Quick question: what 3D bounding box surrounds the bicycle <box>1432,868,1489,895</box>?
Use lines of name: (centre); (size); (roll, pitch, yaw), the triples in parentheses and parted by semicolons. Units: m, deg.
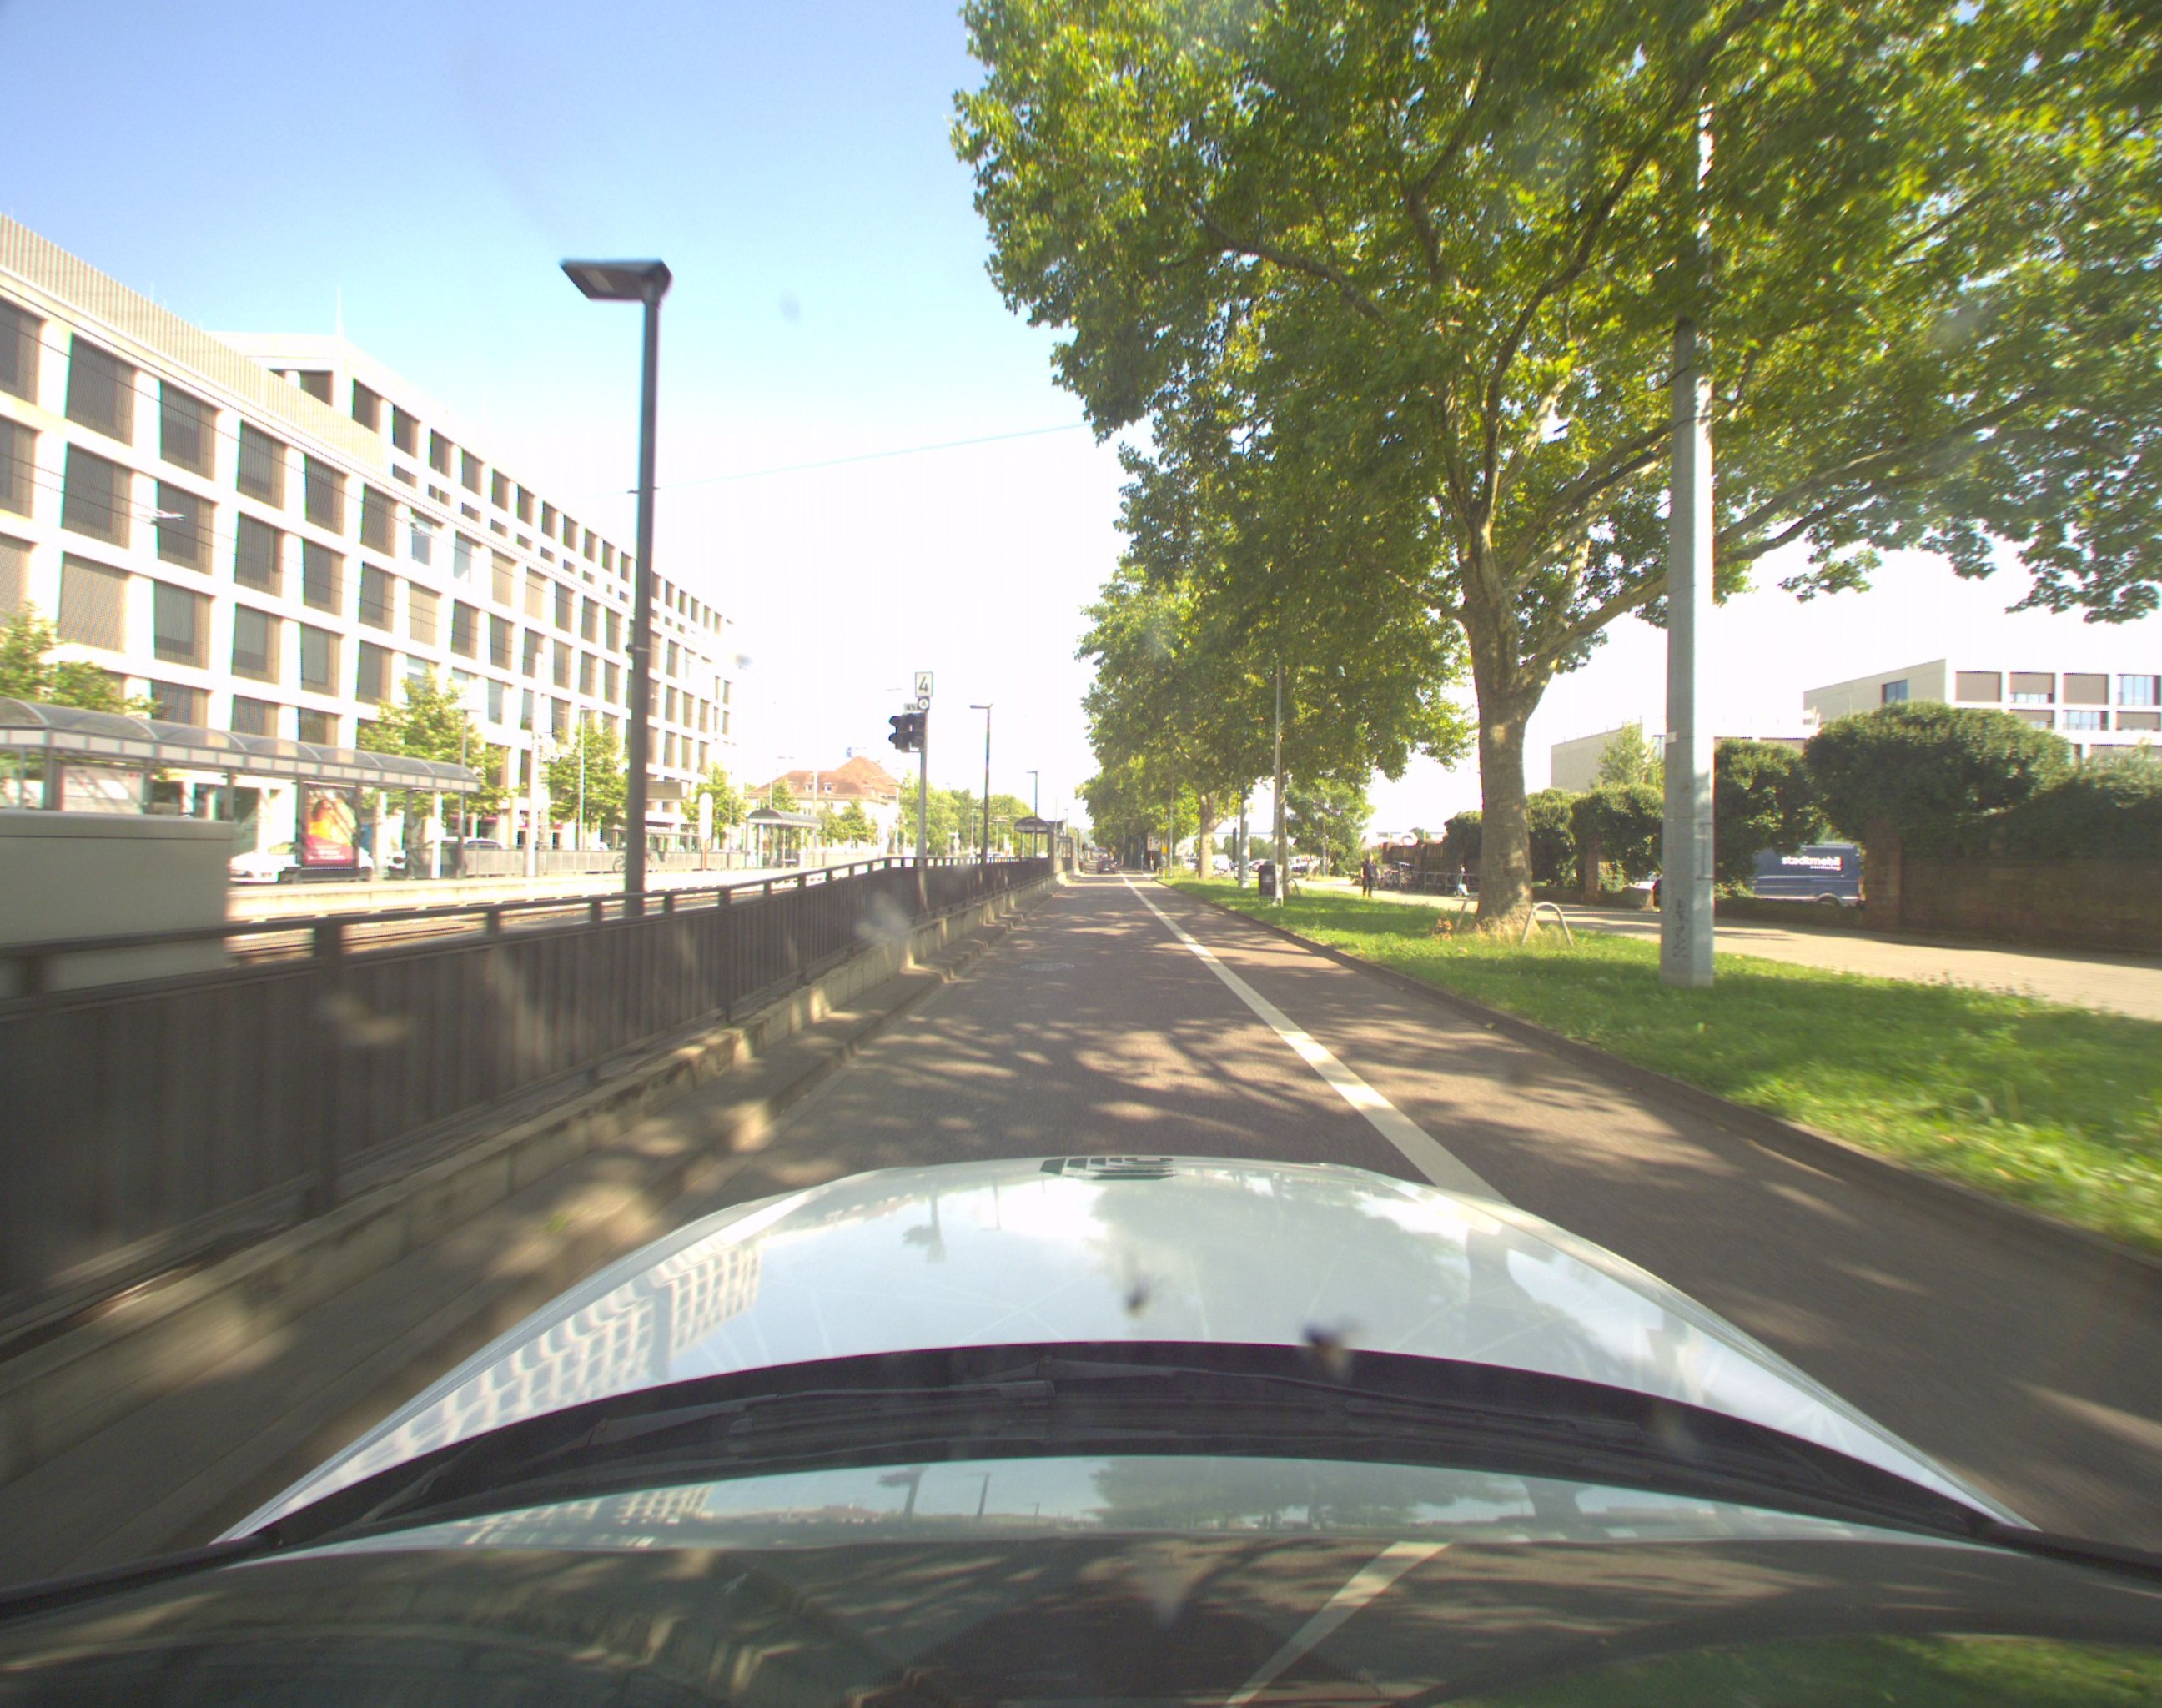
bicycle: (14.721, 1.046, 31.611); (1.861, 1.006, 0.735); (1, -1, -1)

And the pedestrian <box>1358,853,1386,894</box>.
pedestrian: (10.842, 0.718, 30.331); (0.781, 1.515, 0.787); (1, 0, 1)

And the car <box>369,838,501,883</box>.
car: (-24.741, 0.226, 31.405); (1.758, 1.603, 4.131); (1, 0, 0)

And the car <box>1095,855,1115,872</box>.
car: (2.297, 0.905, 78.339); (1.901, 1.537, 4.000); (-1, 0, 1)

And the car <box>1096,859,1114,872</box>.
car: (2.857, 1.360, 97.587); (1.967, 1.537, 4.000); (-2, 0, 0)

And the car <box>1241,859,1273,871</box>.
car: (26.781, 1.661, 124.050); (4.331, 1.712, 1.947); (2, -1, -1)

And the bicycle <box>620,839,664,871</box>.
bicycle: (-16.189, 0.032, 30.061); (0.467, 1.147, 1.490); (1, -1, 16)

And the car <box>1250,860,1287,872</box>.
car: (24.364, 1.512, 105.693); (4.331, 1.464, 1.947); (2, -1, -1)

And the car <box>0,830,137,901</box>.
car: (-24.988, 0.261, 18.716); (1.758, 1.574, 4.131); (0, 0, 0)

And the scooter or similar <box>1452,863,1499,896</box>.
scooter or similar: (14.727, 0.938, 30.422); (1.498, 1.191, 0.539); (-1, -1, 5)

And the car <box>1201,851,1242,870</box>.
car: (15.014, 0.699, 87.222); (4.085, 1.918, 1.850); (-1, 0, 4)

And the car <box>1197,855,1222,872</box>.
car: (11.610, 0.842, 73.798); (1.721, 1.448, 4.552); (0, 0, 2)

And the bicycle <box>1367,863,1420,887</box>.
bicycle: (14.487, 0.966, 37.766); (2.163, 1.076, 0.744); (-2, -1, 4)

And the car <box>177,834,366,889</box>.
car: (-25.026, 0.240, 25.429); (1.758, 1.574, 4.131); (0, 0, 0)

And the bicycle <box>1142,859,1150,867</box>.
bicycle: (8.200, 1.145, 102.816); (0.609, 1.022, 2.400); (1, 0, -3)

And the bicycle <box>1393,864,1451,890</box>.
bicycle: (14.517, 0.986, 34.732); (2.167, 1.076, 0.743); (1, -1, -1)

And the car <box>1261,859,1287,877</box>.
car: (17.726, 1.299, 75.048); (1.602, 1.575, 3.797); (0, 0, 2)

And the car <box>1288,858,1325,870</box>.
car: (30.071, 1.383, 108.605); (4.331, 1.464, 1.947); (2, -1, -1)

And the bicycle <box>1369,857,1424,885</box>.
bicycle: (15.211, 0.816, 39.254); (2.236, 1.277, 0.998); (-1, -2, 0)

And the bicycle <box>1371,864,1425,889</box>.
bicycle: (14.374, 1.004, 36.945); (2.163, 1.076, 0.744); (-1, -1, 4)

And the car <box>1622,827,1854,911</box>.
car: (20.271, 0.445, 25.338); (5.353, 2.434, 2.252); (1, -1, 2)

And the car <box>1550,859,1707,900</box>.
car: (21.188, 0.974, 31.627); (4.892, 1.479, 2.180); (1, 0, -9)
